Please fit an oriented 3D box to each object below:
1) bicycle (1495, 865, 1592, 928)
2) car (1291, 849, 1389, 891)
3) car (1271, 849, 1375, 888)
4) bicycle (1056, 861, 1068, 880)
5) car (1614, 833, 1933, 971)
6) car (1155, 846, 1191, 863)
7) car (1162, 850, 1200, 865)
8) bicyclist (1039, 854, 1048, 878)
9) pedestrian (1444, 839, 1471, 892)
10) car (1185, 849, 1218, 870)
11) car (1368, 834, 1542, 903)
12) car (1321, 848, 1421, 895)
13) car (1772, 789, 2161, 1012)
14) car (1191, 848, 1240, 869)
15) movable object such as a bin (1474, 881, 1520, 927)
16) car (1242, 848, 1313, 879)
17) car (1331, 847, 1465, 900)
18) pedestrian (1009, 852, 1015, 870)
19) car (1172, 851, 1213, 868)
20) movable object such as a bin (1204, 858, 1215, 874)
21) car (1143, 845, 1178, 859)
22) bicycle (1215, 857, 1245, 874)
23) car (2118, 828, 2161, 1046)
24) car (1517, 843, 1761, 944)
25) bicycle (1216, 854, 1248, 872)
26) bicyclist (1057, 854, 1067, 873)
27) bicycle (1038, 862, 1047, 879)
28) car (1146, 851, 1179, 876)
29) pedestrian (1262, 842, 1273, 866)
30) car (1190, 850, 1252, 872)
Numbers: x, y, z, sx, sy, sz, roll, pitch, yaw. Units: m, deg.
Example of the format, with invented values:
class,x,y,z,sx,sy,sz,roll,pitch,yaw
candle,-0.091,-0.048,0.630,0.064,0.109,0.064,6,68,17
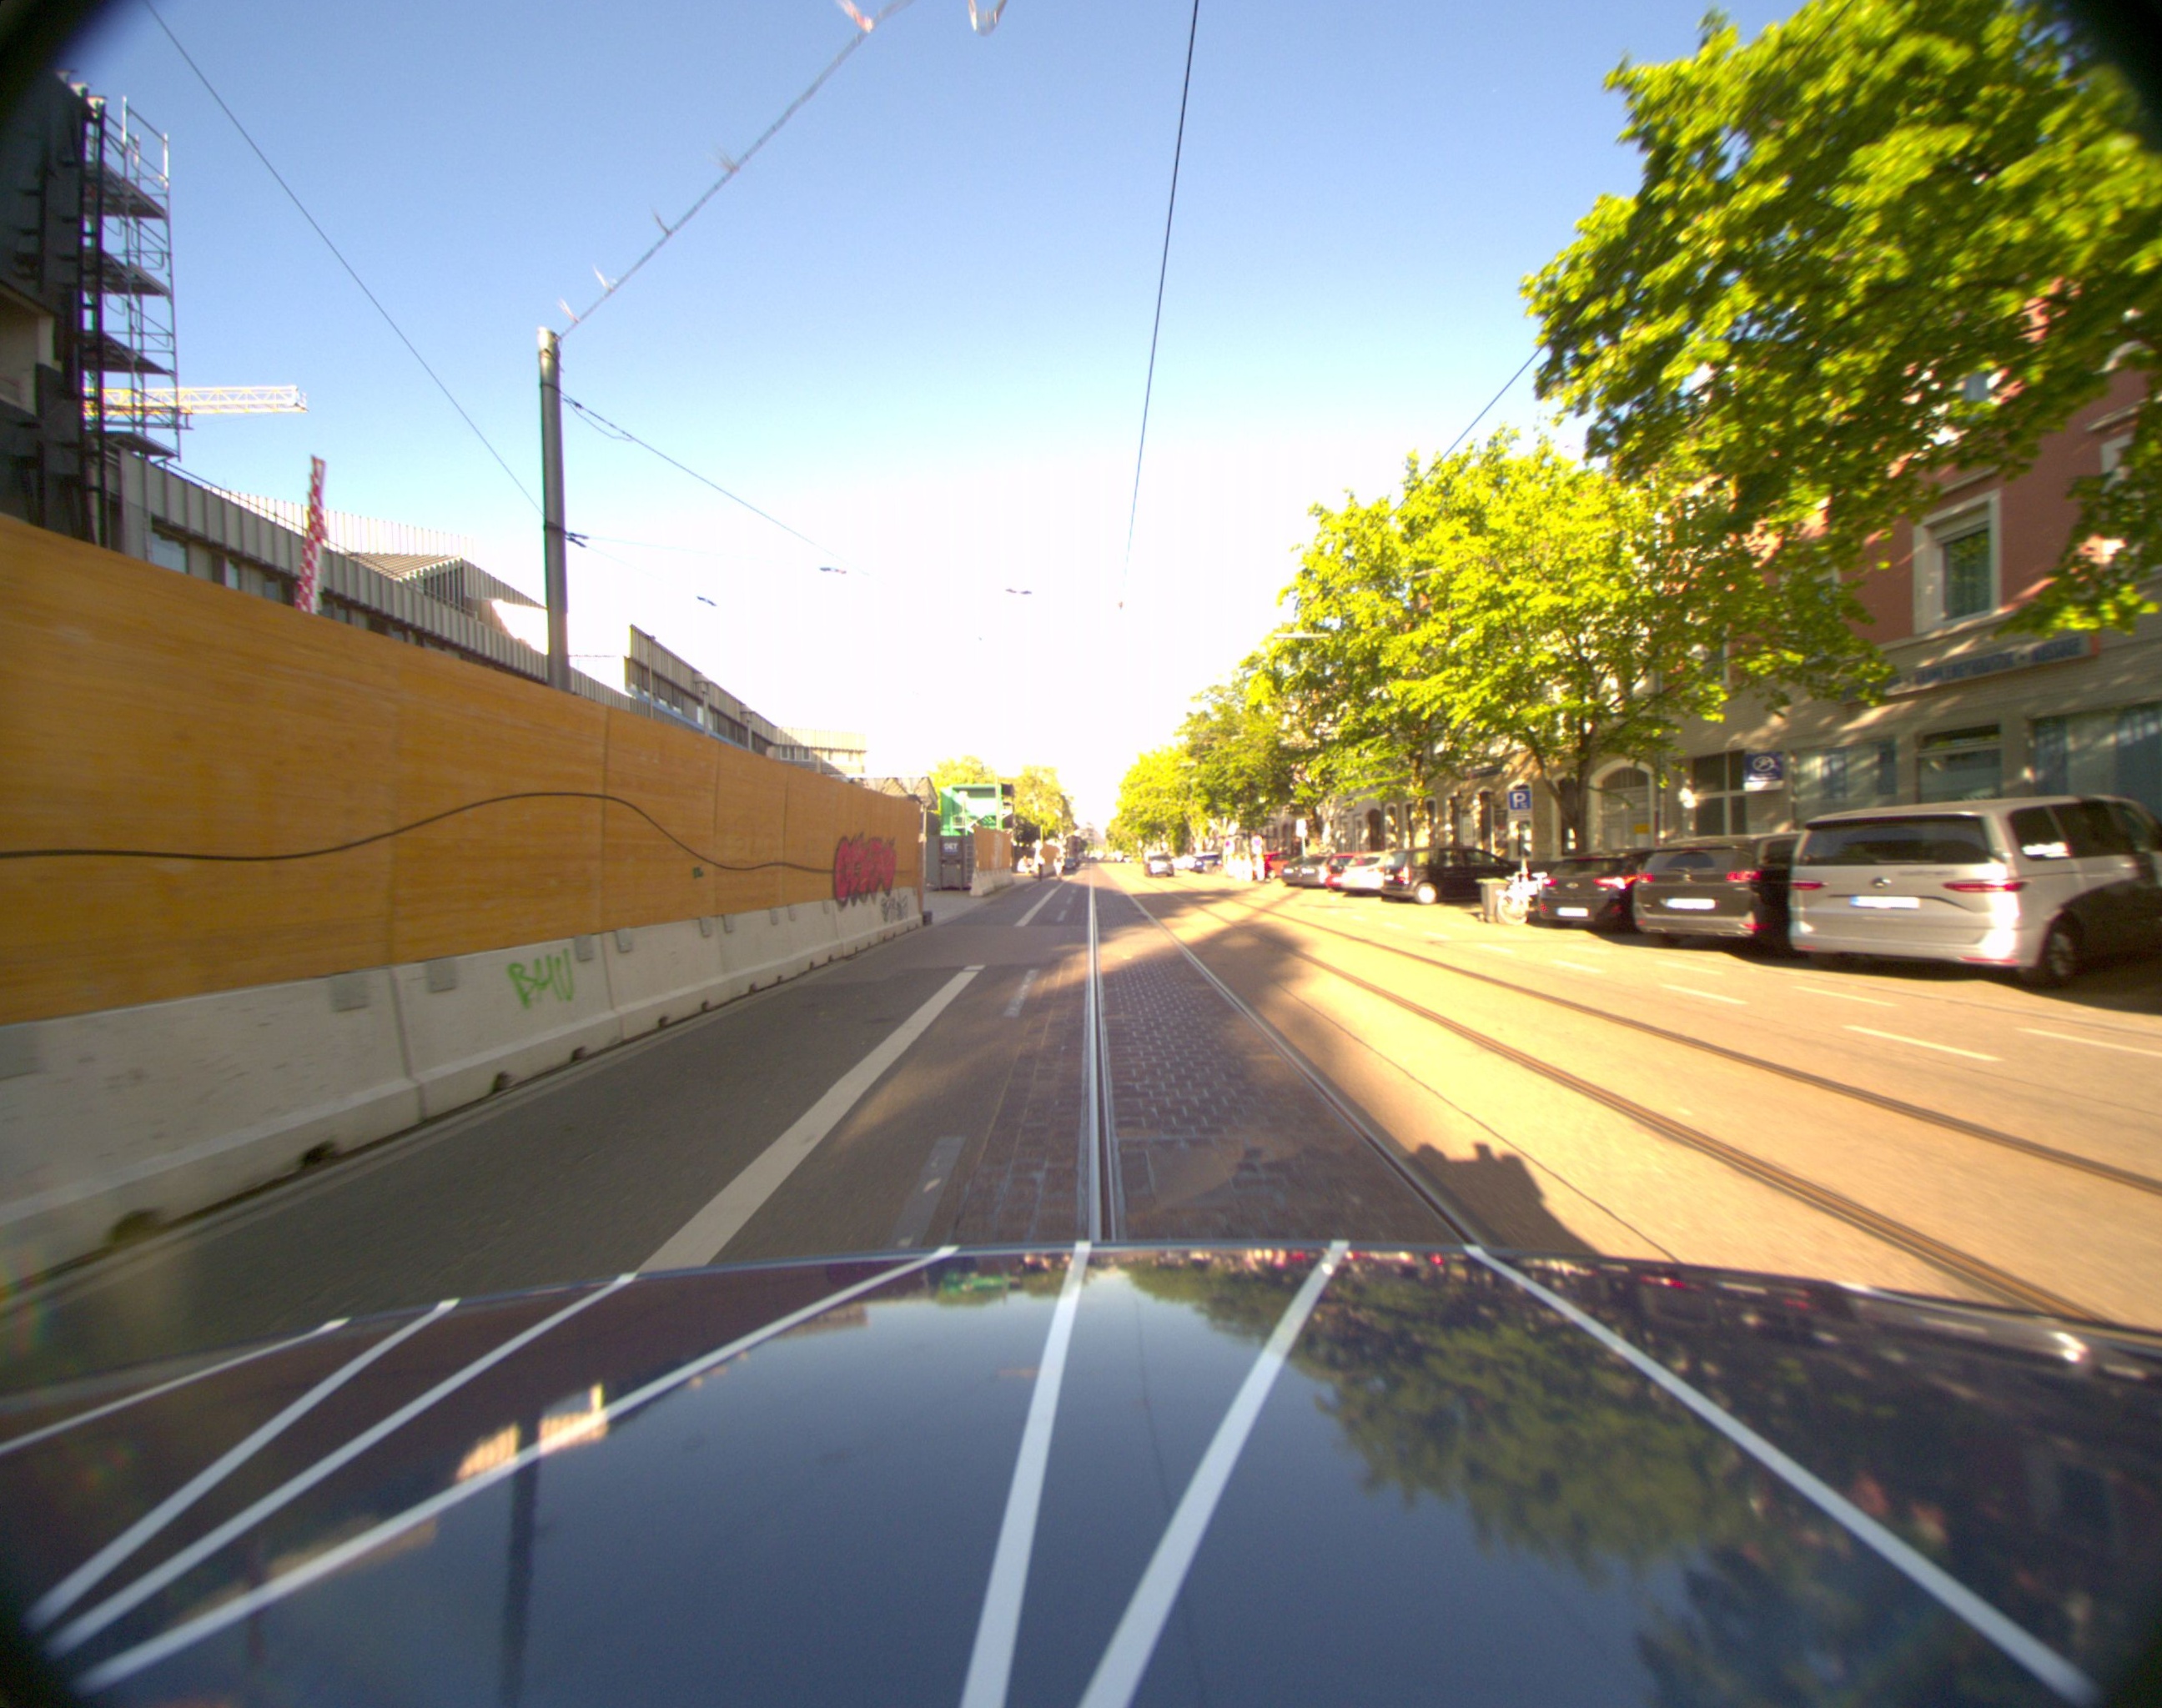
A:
class,x,y,z,sx,sy,sz,roll,pitch,yaw
bicycle,9.588,0.865,15.756,1.973,1.138,0.492,-3,1,-17
car,10.744,0.629,31.511,3.689,1.462,1.749,-4,1,-28
car,10.875,0.626,34.108,4.207,1.482,1.940,-3,0,-26
bicycle,-1.229,1.044,49.688,0.669,1.148,2.276,-3,0,0
car,10.105,0.578,11.086,4.254,1.675,1.807,-1,0,-23
car,12.276,0.033,101.229,4.448,2.105,2.163,-2,0,-1
car,11.686,0.414,88.941,4.003,1.667,1.700,-2,0,-19
bicyclist,-2.532,0.777,50.754,0.557,1.603,0.576,0,1,-1
pedestrian,14.297,0.432,28.852,0.733,2.002,0.556,-1,1,2
car,11.309,0.504,71.043,1.728,1.832,3.453,-1,0,35
car,10.872,0.405,22.291,4.115,1.668,1.841,-4,0,-1
car,10.910,0.639,28.569,3.377,1.484,1.610,-3,0,-27
car,10.409,0.354,8.640,4.372,1.975,1.946,-3,1,-20
car,11.070,0.352,62.542,3.909,1.599,1.569,-1,0,-33
movable object such as a bin,8.830,1.055,16.129,0.577,0.908,0.575,-4,0,-15
car,11.290,0.531,43.678,3.629,1.544,1.666,-3,-1,-25
car,10.725,0.636,25.694,4.122,1.503,1.837,-3,0,-25
pedestrian,-6.986,0.699,77.063,0.449,1.748,0.377,-2,1,-19
car,11.364,0.548,77.349,3.650,1.521,1.883,-4,1,-19
movable object such as a bin,9.522,0.879,56.388,0.685,1.071,0.710,-5,0,2
car,12.187,-0.300,117.013,4.943,2.002,2.072,-1,0,-14
bicycle,10.605,0.784,54.166,1.972,1.073,0.568,-4,0,3
car,10.670,0.519,6.039,4.300,1.657,1.908,-4,1,-23
car,10.388,0.661,14.180,3.872,1.468,1.840,-4,1,-21
bicycle,10.482,0.612,52.839,2.007,1.081,0.567,-6,0,3
bicyclist,-1.246,0.639,49.842,0.653,1.230,0.353,0,1,-1
bicycle,-2.523,1.082,50.342,0.558,1.120,2.275,0,0,-2
car,5.646,0.625,53.099,1.932,1.620,4.249,-1,0,2
pedestrian,14.087,-0.010,57.441,0.645,1.827,0.624,-1,1,2
car,12.278,0.616,66.704,4.945,1.784,2.205,-2,0,-21
